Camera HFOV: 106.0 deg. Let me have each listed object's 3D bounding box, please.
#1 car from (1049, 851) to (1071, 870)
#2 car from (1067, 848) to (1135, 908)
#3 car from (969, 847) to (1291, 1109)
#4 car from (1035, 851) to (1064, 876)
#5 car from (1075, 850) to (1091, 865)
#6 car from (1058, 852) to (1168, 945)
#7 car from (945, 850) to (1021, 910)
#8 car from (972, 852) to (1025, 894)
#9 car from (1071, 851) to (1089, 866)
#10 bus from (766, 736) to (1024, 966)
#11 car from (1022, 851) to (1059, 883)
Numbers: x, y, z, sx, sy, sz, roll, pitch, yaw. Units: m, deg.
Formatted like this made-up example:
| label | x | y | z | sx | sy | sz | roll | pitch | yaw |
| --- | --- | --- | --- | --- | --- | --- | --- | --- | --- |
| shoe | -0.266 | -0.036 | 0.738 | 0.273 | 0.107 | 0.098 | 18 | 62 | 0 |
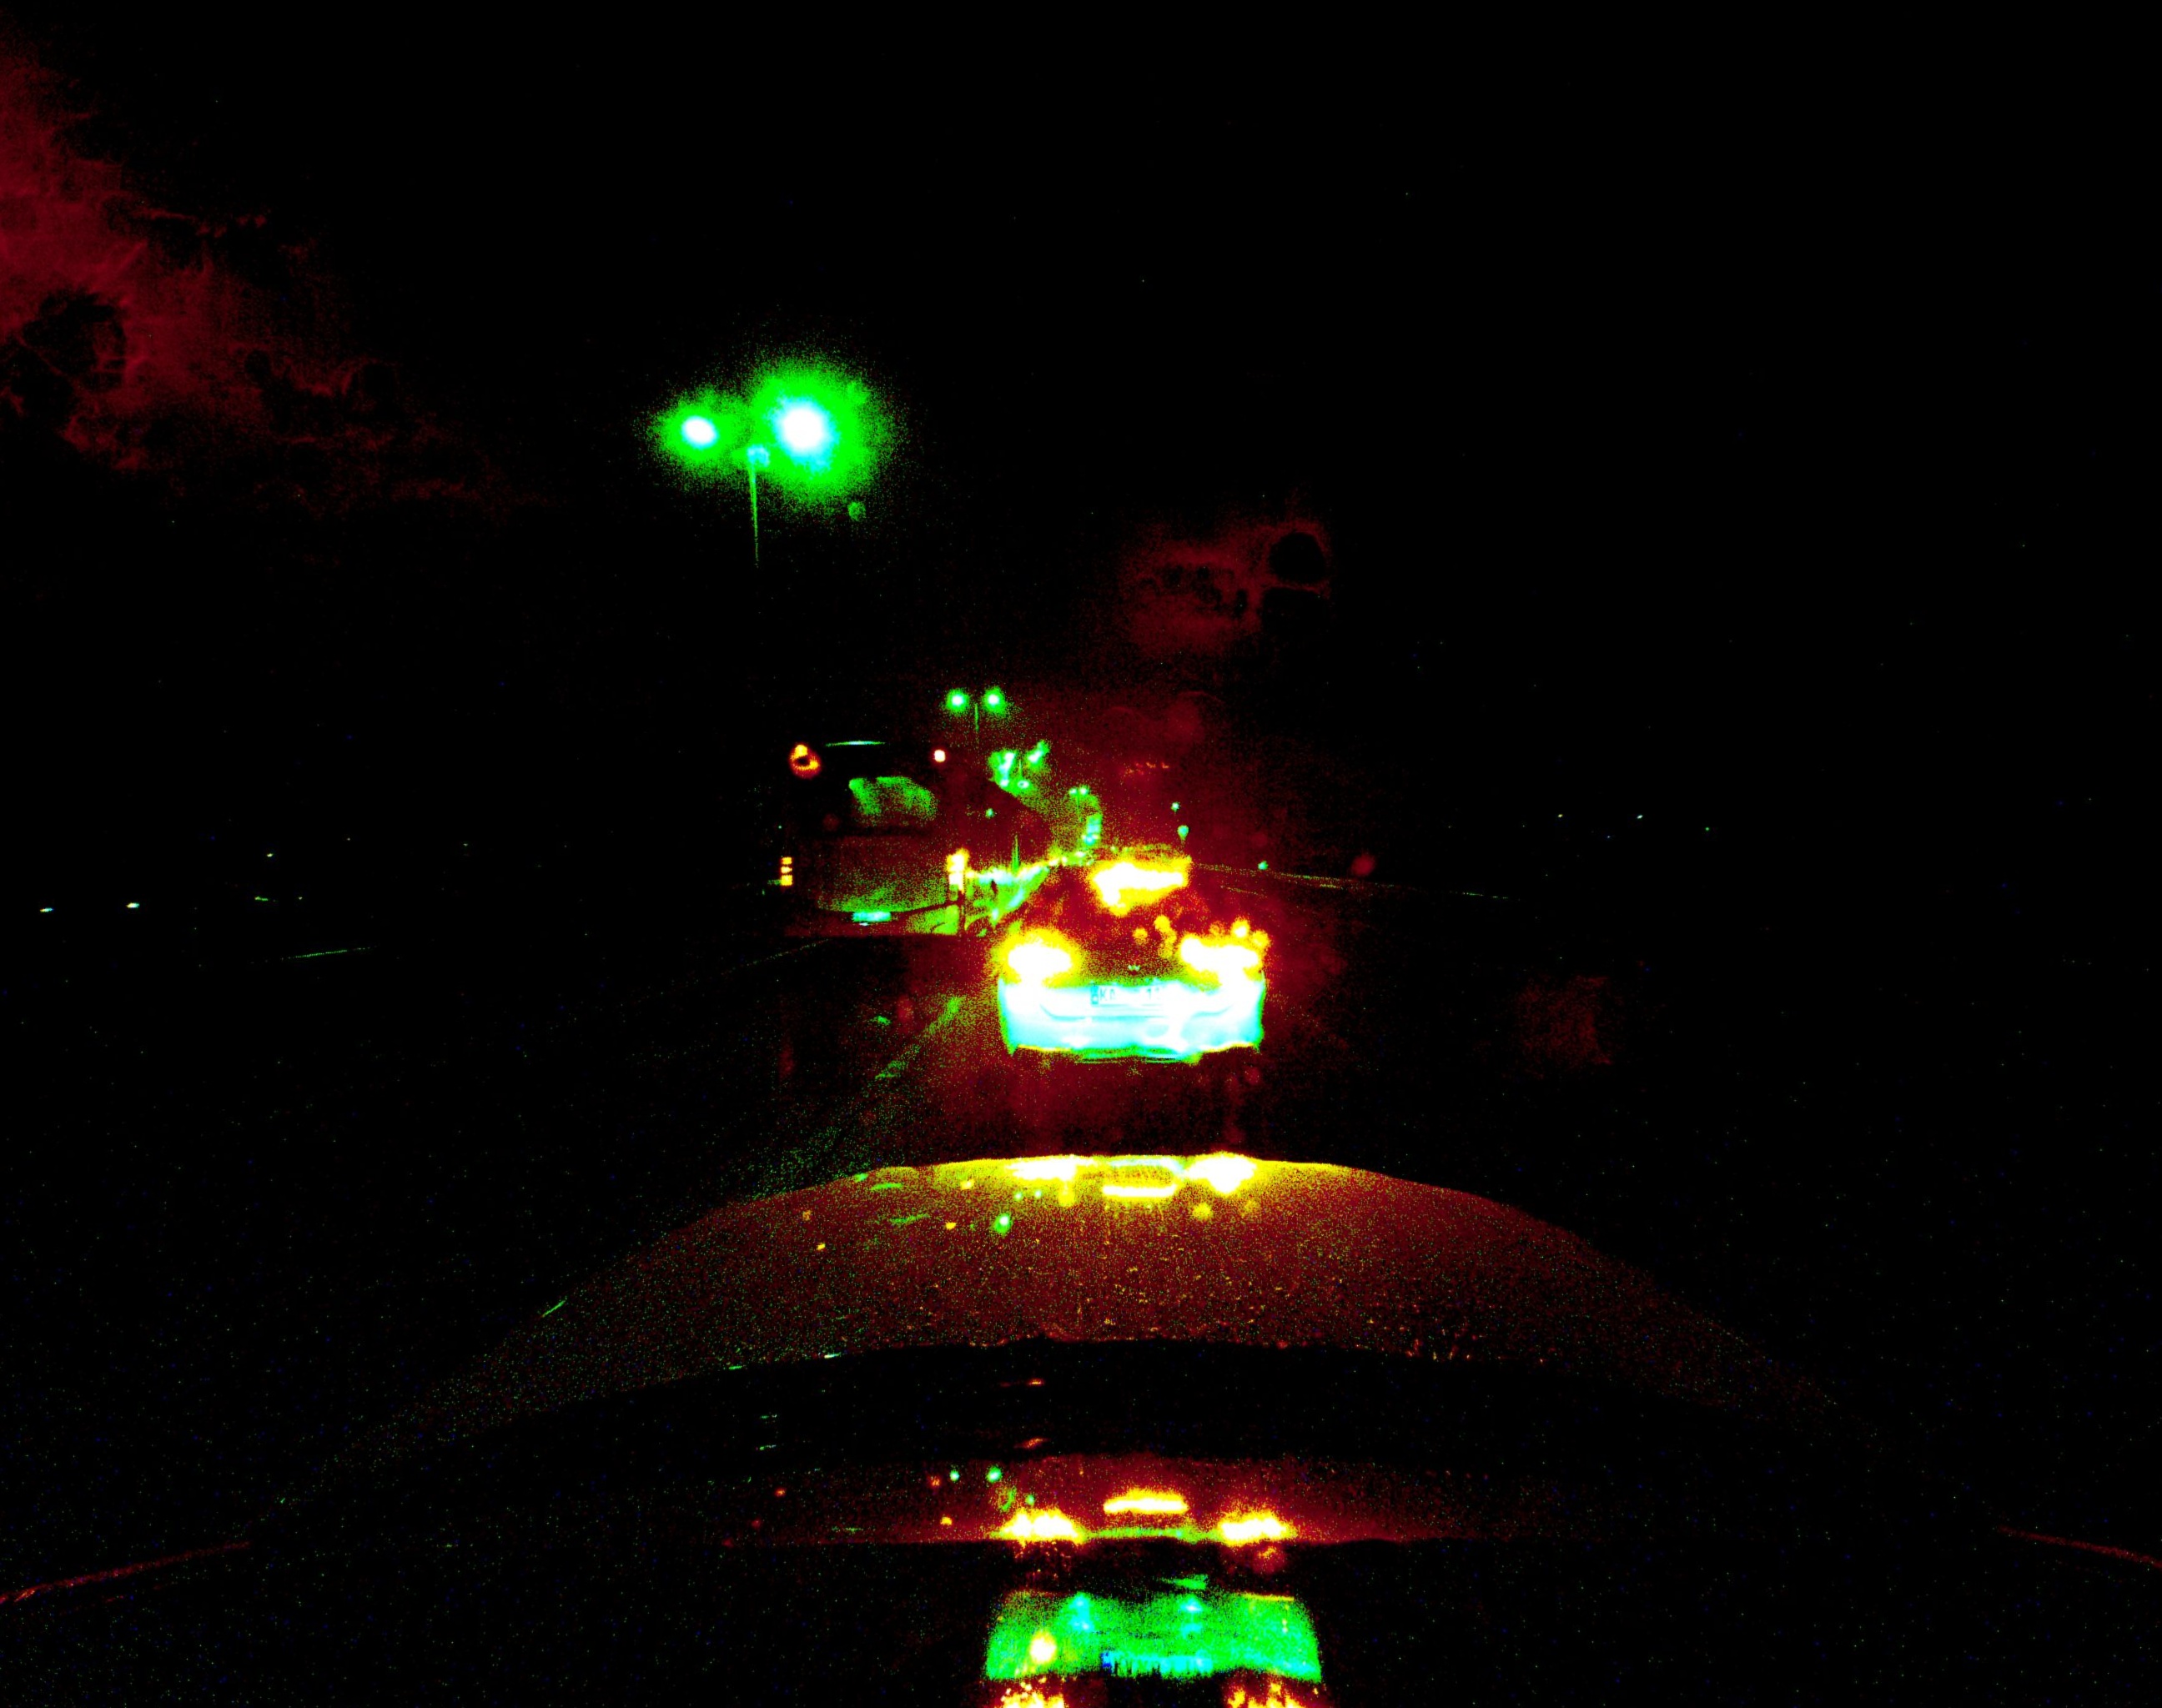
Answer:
| label | x | y | z | sx | sy | sz | roll | pitch | yaw |
| --- | --- | --- | --- | --- | --- | --- | --- | --- | --- |
| car | -1.770 | 0.544 | 67.900 | 1.775 | 1.543 | 3.872 | -1 | 0 | -2 |
| car | 0.492 | 0.618 | 23.329 | 1.735 | 1.565 | 3.774 | -1 | 0 | -2 |
| car | 0.451 | 0.708 | 6.940 | 1.813 | 1.484 | 4.573 | -1 | 0 | 4 |
| car | -2.052 | 0.598 | 54.022 | 1.774 | 1.543 | 3.874 | -1 | 0 | 0 |
| car | 0.252 | 0.457 | 106.734 | 1.986 | 2.013 | 4.002 | -1 | 0 | 2 |
| car | 0.507 | 0.695 | 15.234 | 1.726 | 1.449 | 4.724 | -1 | 0 | 0 |
| car | -2.712 | 0.681 | 23.256 | 1.775 | 1.543 | 3.872 | -1 | 0 | -2 |
| car | -3.167 | 0.697 | 31.981 | 1.775 | 1.543 | 3.872 | -1 | 0 | -2 |
| car | -0.093 | 0.481 | 91.274 | 1.773 | 1.543 | 3.876 | -1 | 0 | 1 |
| bus | -2.782 | -0.060 | 15.224 | 2.806 | 3.024 | 8.685 | -1 | 0 | 0 |
| car | -2.061 | 0.652 | 42.422 | 1.774 | 1.543 | 3.873 | -1 | 0 | -1 |
